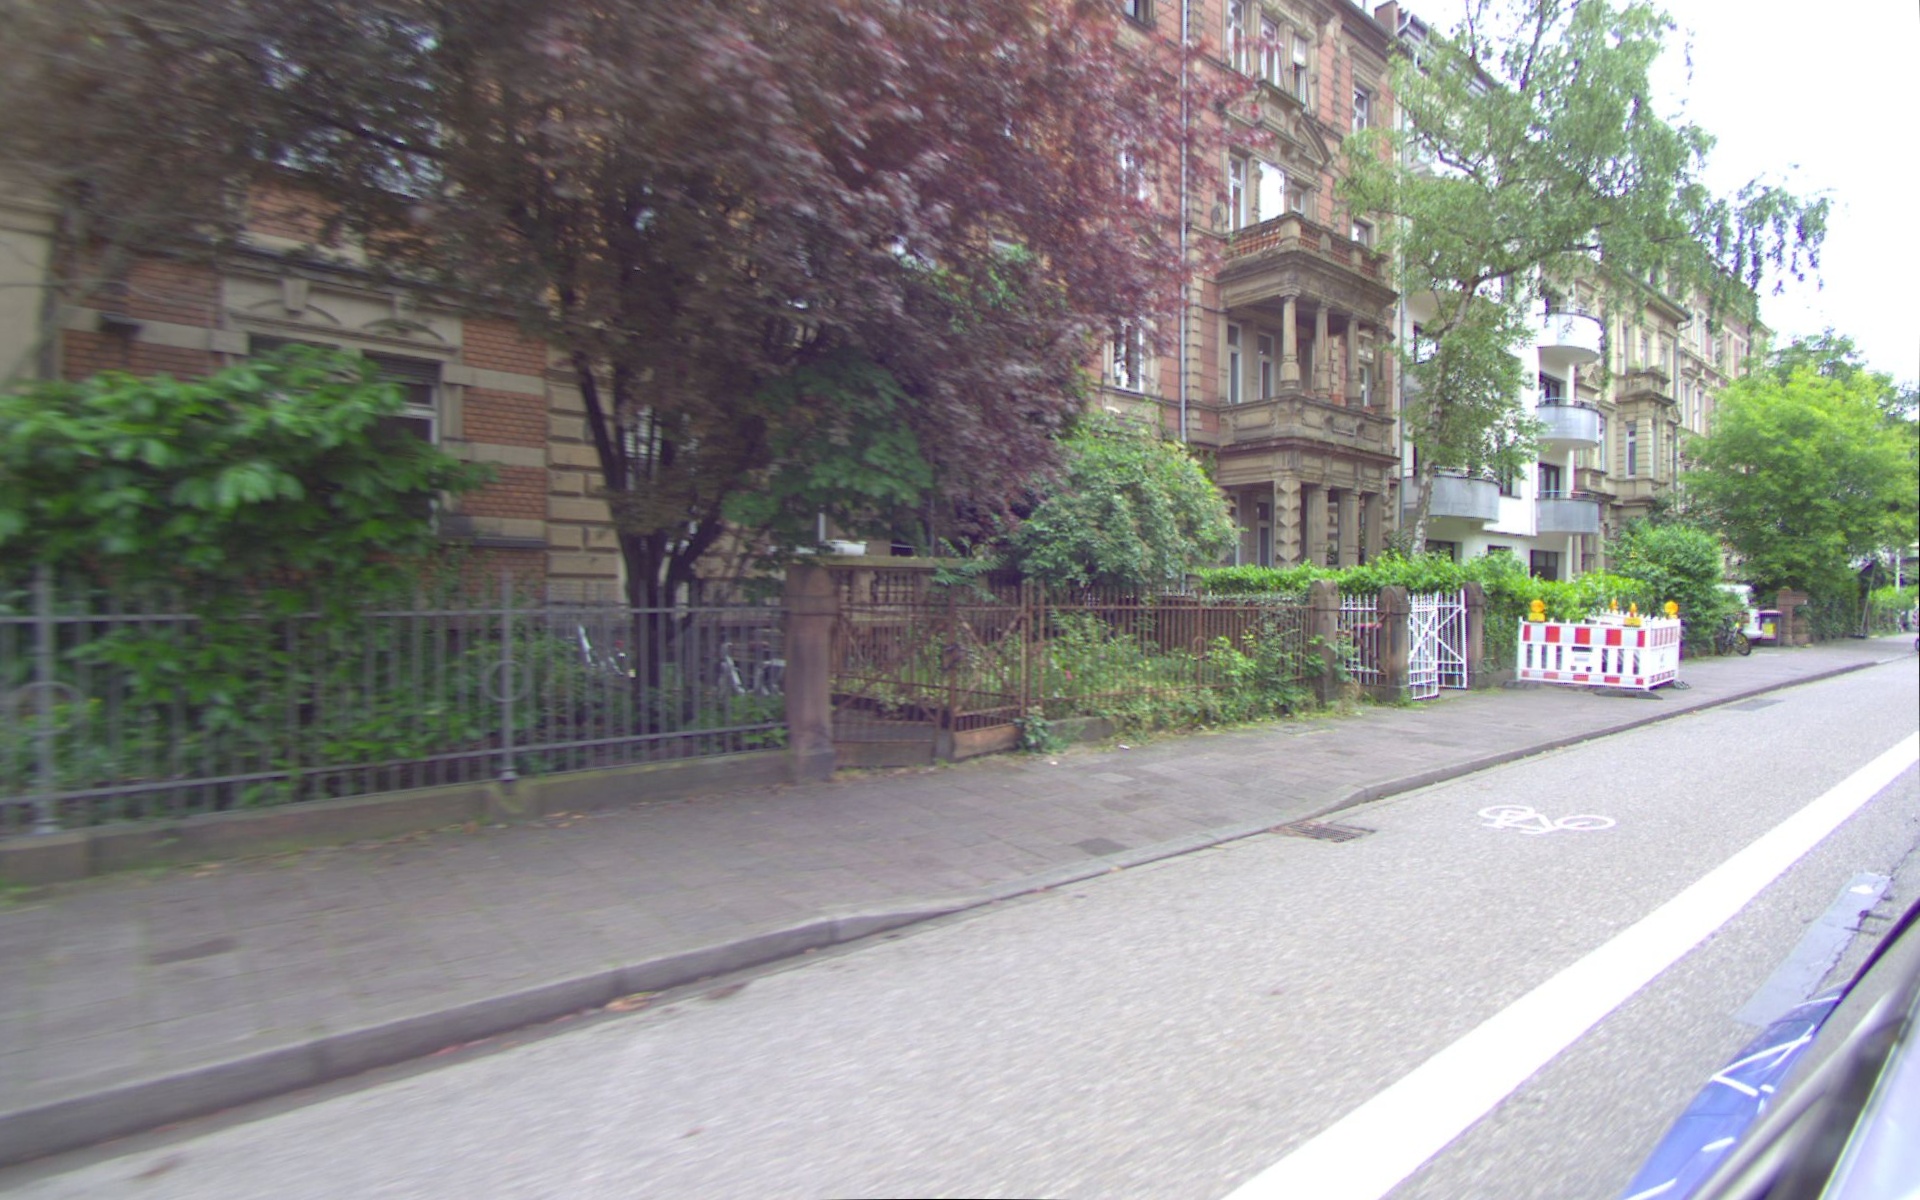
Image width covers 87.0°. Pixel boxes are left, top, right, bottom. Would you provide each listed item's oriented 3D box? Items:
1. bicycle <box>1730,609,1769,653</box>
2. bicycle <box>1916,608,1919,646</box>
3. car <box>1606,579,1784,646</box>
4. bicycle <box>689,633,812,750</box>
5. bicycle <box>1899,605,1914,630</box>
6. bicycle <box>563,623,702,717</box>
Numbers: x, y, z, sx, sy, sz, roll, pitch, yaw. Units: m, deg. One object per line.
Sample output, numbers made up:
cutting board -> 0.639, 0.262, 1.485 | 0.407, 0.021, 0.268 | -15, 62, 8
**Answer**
bicycle -> 19.868, 0.772, 25.449 | 1.504, 1.058, 0.480 | 0, 0, -40
bicycle -> 28.378, 0.844, 28.625 | 0.596, 1.089, 1.845 | 1, 3, -41
car -> 21.925, 0.315, 30.307 | 1.777, 1.882, 3.995 | 0, 1, -40
bicycle -> -1.927, 0.777, 9.144 | 0.544, 0.874, 1.623 | 0, 1, -33
bicycle -> 41.284, 0.742, 44.126 | 1.816, 1.055, 0.302 | 0, 0, -41
bicycle -> -3.478, 0.710, 10.705 | 1.529, 0.902, 0.566 | 0, -1, 32
